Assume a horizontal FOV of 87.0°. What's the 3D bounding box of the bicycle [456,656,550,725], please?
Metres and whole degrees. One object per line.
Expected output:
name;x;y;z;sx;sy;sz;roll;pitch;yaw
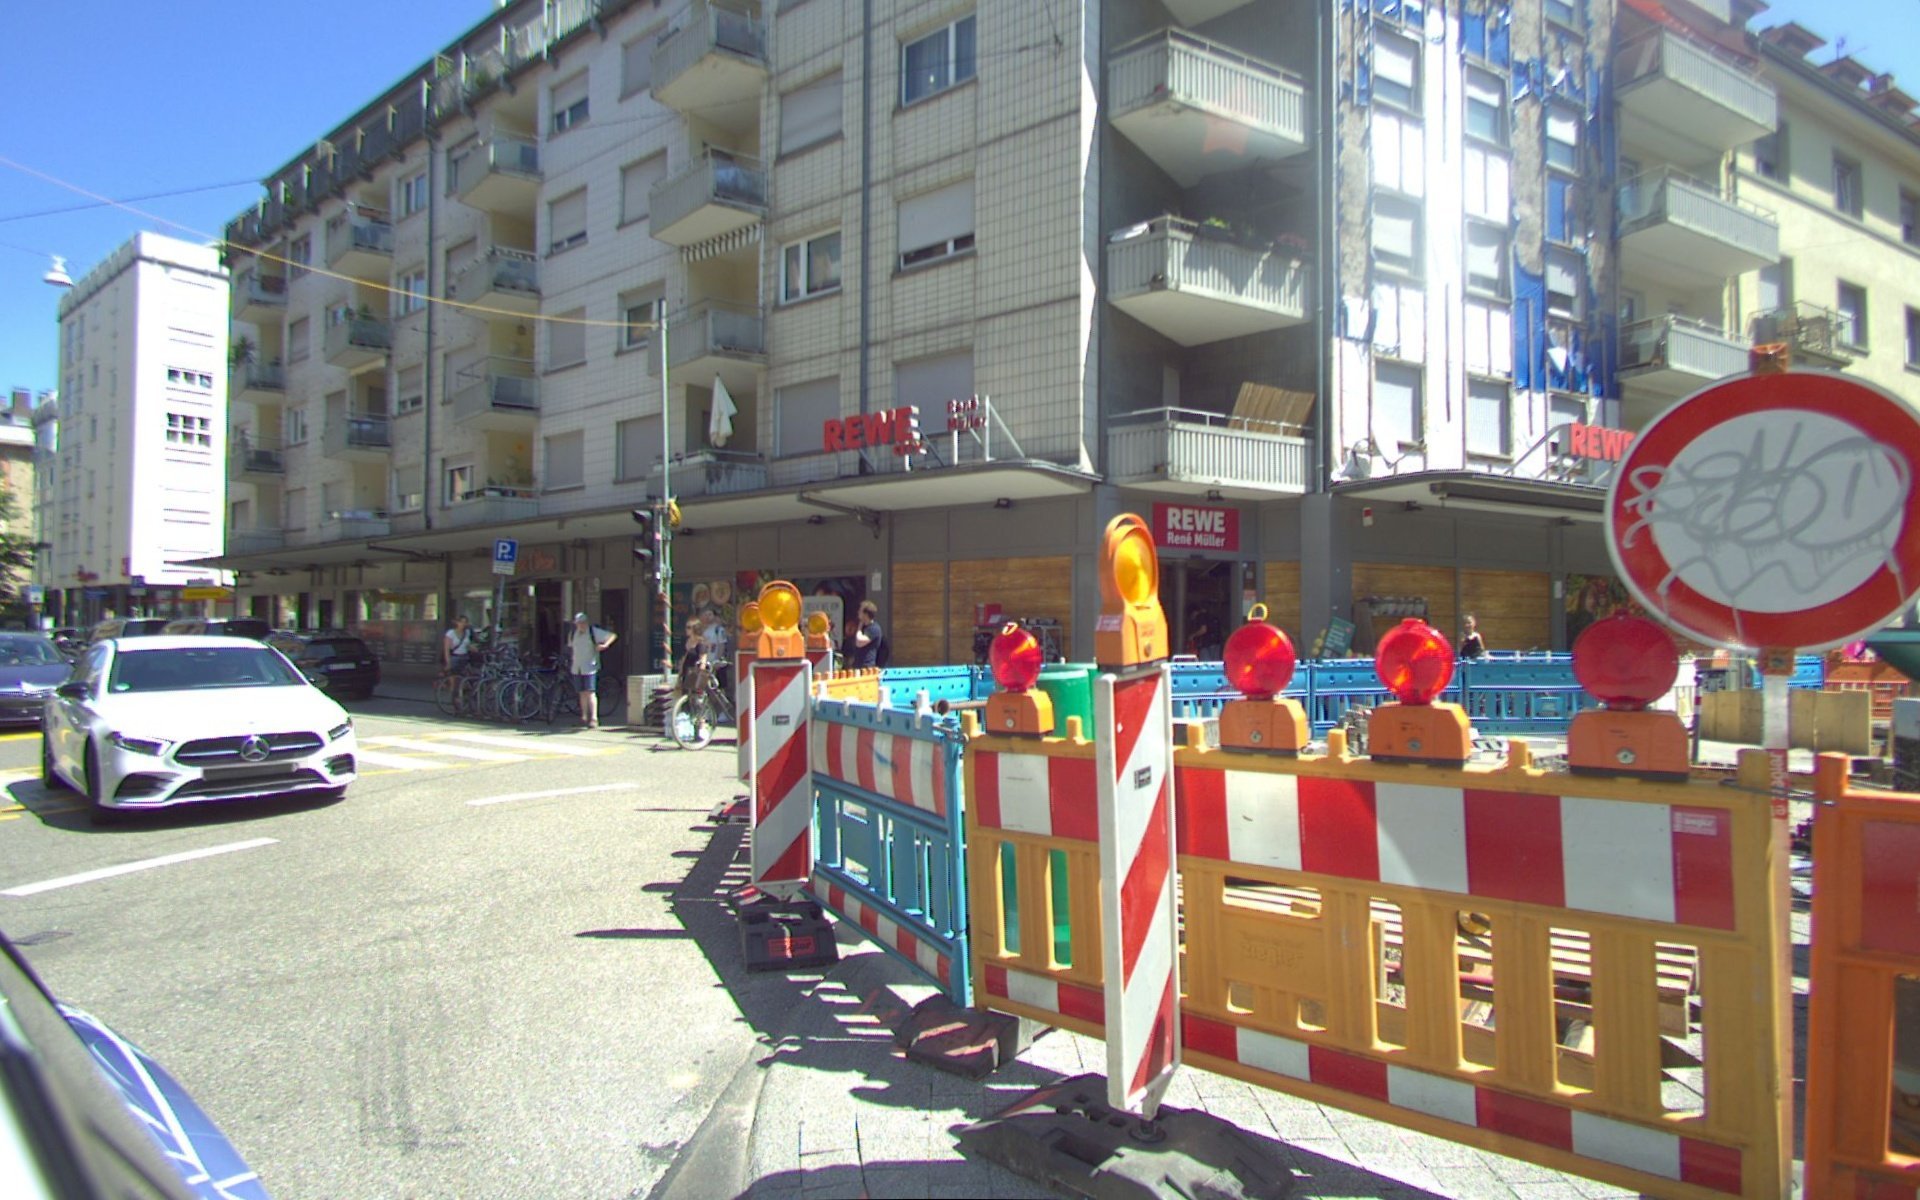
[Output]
bicycle;-7.744;1.515;17.198;0.396;1.038;1.483;-1;0;31

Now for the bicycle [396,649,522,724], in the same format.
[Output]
bicycle;-8.702;1.472;17.652;0.603;1.100;1.918;0;1;33

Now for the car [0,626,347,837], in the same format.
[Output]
car;-7.230;1.008;8.954;4.237;1.436;1.791;-3;-4;39

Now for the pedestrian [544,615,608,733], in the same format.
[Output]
pedestrian;-5.830;1.106;15.376;0.631;1.740;0.650;-1;-2;34

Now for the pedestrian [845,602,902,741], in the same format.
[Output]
pedestrian;-1.178;0.955;13.801;0.598;1.834;0.505;-1;-3;34

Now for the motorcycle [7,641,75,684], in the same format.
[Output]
motorcycle;-28.422;1.923;31.314;1.529;1.293;0.395;0;0;-22

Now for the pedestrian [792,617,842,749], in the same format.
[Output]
pedestrian;-1.803;1.031;12.775;0.474;1.630;0.386;-1;-3;34

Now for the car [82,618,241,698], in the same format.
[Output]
car;-20.141;1.406;25.460;4.685;1.825;1.774;-2;-1;33

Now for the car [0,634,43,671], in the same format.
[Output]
car;-37.693;1.998;38.585;3.826;1.436;1.820;1;-3;-35

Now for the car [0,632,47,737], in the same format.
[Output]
car;-15.630;1.258;15.442;3.992;1.480;1.760;-1;-1;36

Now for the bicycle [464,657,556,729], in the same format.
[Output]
bicycle;-7.366;1.505;16.631;0.334;1.043;1.437;-1;0;31

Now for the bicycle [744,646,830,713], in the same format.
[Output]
bicycle;-2.914;1.340;17.009;1.420;1.094;0.320;-2;-2;18

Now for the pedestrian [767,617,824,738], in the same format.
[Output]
pedestrian;-2.301;1.069;14.203;0.598;1.645;0.505;-1;-3;34

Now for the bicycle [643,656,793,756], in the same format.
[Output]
bicycle;-3.043;1.306;12.808;1.780;1.128;0.469;-1;-1;-33

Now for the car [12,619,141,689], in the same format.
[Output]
car;-25.345;1.501;28.979;4.890;1.843;1.773;-2;-1;36

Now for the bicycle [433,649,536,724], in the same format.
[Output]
bicycle;-8.175;1.471;17.466;0.525;1.148;1.572;-1;0;31

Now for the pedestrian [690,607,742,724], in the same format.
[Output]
pedestrian;-3.813;1.005;15.827;0.598;1.784;0.505;-1;-3;34

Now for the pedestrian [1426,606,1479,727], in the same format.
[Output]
pedestrian;7.179;0.956;14.772;0.384;1.728;0.592;1;-2;-15

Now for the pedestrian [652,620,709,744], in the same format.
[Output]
pedestrian;-3.809;1.098;13.825;0.510;1.645;0.536;-1;-2;34

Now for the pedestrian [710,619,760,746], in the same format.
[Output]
pedestrian;-2.908;1.048;13.093;0.489;1.577;0.461;-1;-1;-28

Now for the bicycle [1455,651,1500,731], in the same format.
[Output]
bicycle;7.538;1.296;14.770;0.340;1.080;1.565;-1;-2;19

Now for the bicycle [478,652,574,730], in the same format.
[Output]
bicycle;-7.017;1.443;16.435;0.334;1.125;1.508;-1;0;31

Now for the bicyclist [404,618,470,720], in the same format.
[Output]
bicyclist;-9.206;1.200;17.813;0.976;1.719;0.618;-2;0;35

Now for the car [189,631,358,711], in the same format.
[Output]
car;-14.855;1.468;21.813;4.455;1.536;1.655;-2;-1;37

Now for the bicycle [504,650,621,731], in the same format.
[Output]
bicycle;-6.356;1.417;16.262;0.575;1.131;1.785;-1;0;30
